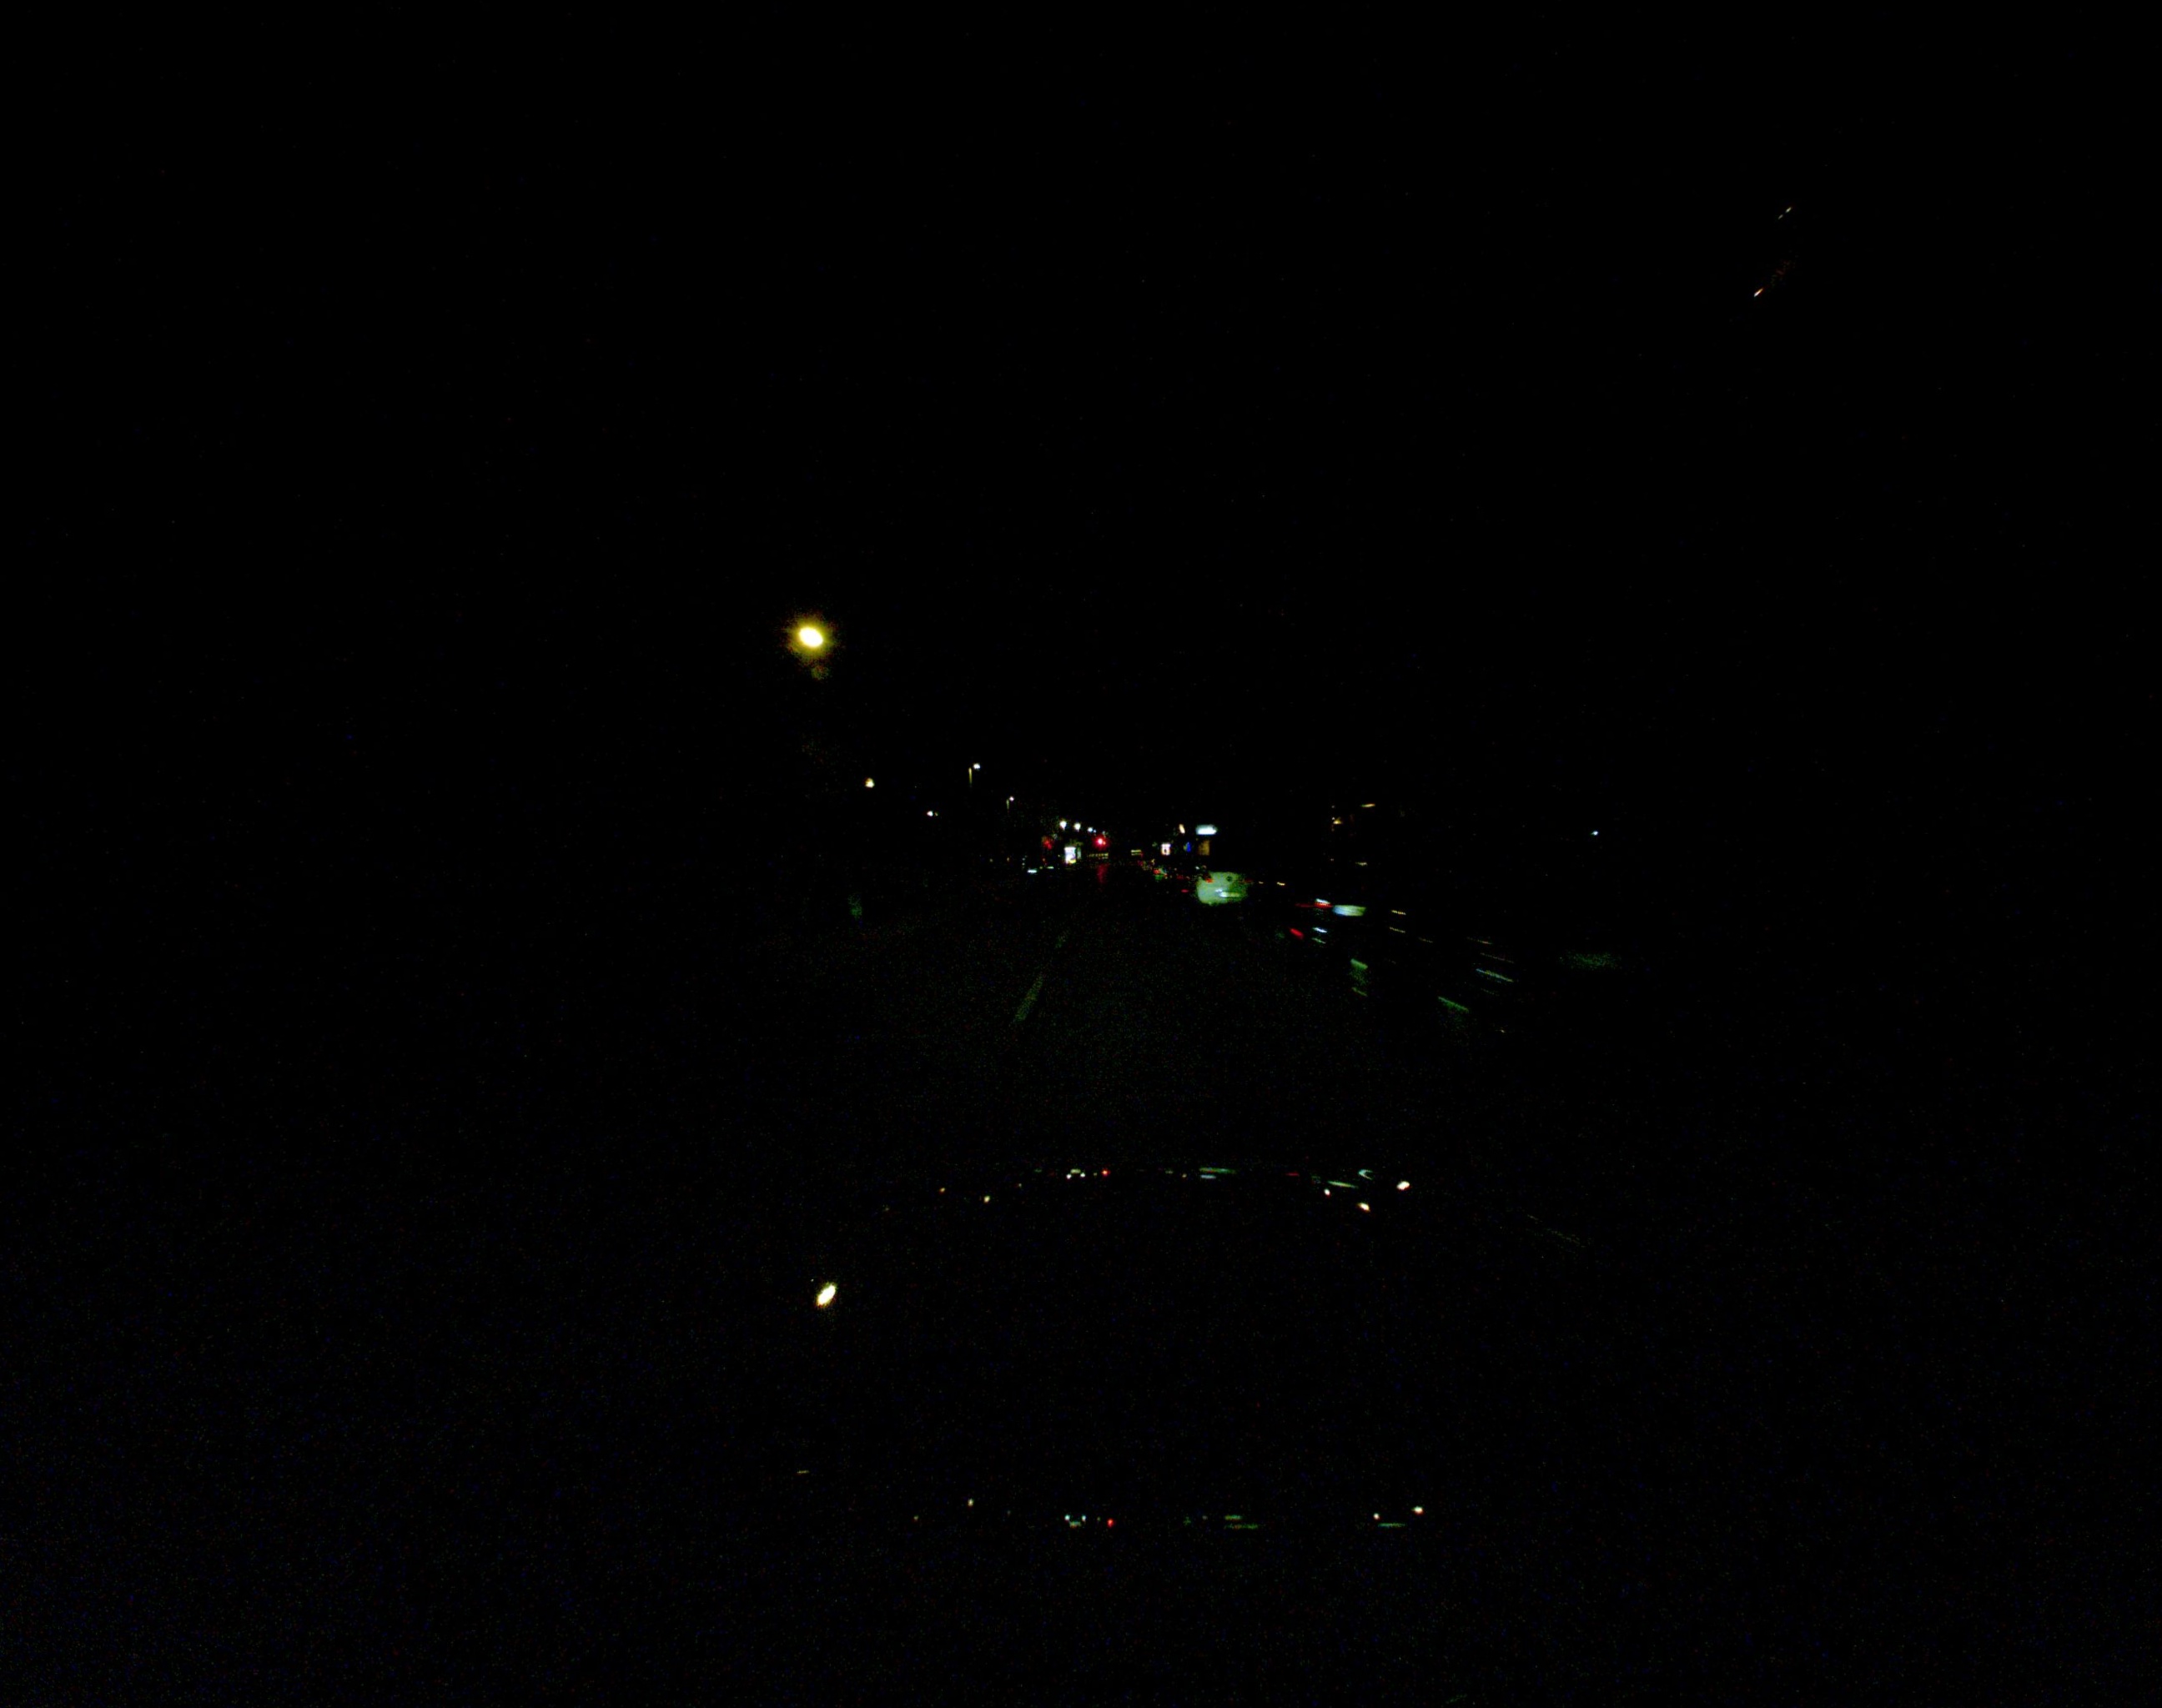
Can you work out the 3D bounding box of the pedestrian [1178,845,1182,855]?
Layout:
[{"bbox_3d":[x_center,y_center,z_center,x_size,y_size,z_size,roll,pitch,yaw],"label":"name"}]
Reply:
[{"bbox_3d":[18.773,-0.701,154.418,0.710,1.795,0.740,-1,-1,14],"label":"pedestrian"}]

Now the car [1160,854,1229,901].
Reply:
[{"bbox_3d":[3.742,0.733,27.456,1.756,1.416,4.440,0,0,0],"label":"car"}]

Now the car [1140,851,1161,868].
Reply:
[{"bbox_3d":[6.480,0.476,76.135,1.849,1.442,4.599,-3,0,4],"label":"car"}]

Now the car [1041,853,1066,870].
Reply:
[{"bbox_3d":[-2.361,0.654,71.738,1.683,1.436,4.134,0,0,5],"label":"car"}]

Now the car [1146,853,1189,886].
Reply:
[{"bbox_3d":[4.079,0.682,39.036,1.670,1.447,4.613,-2,0,2],"label":"car"}]

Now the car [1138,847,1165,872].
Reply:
[{"bbox_3d":[5.091,0.363,59.329,1.779,1.641,4.383,-3,0,3],"label":"car"}]

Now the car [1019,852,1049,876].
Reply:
[{"bbox_3d":[-3.142,0.693,54.566,1.685,1.524,3.692,0,-1,1],"label":"car"}]

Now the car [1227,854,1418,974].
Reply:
[{"bbox_3d":[3.411,0.759,12.306,1.671,1.447,3.999,-2,0,0],"label":"car"}]

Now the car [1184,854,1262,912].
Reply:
[{"bbox_3d":[3.860,0.732,22.669,1.632,1.466,3.778,0,0,2],"label":"car"}]

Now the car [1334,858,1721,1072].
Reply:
[{"bbox_3d":[3.535,0.752,7.216,1.594,1.398,3.519,0,0,2],"label":"car"}]

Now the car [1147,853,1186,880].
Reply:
[{"bbox_3d":[4.692,0.661,45.038,1.774,1.437,4.290,0,0,1],"label":"car"}]
